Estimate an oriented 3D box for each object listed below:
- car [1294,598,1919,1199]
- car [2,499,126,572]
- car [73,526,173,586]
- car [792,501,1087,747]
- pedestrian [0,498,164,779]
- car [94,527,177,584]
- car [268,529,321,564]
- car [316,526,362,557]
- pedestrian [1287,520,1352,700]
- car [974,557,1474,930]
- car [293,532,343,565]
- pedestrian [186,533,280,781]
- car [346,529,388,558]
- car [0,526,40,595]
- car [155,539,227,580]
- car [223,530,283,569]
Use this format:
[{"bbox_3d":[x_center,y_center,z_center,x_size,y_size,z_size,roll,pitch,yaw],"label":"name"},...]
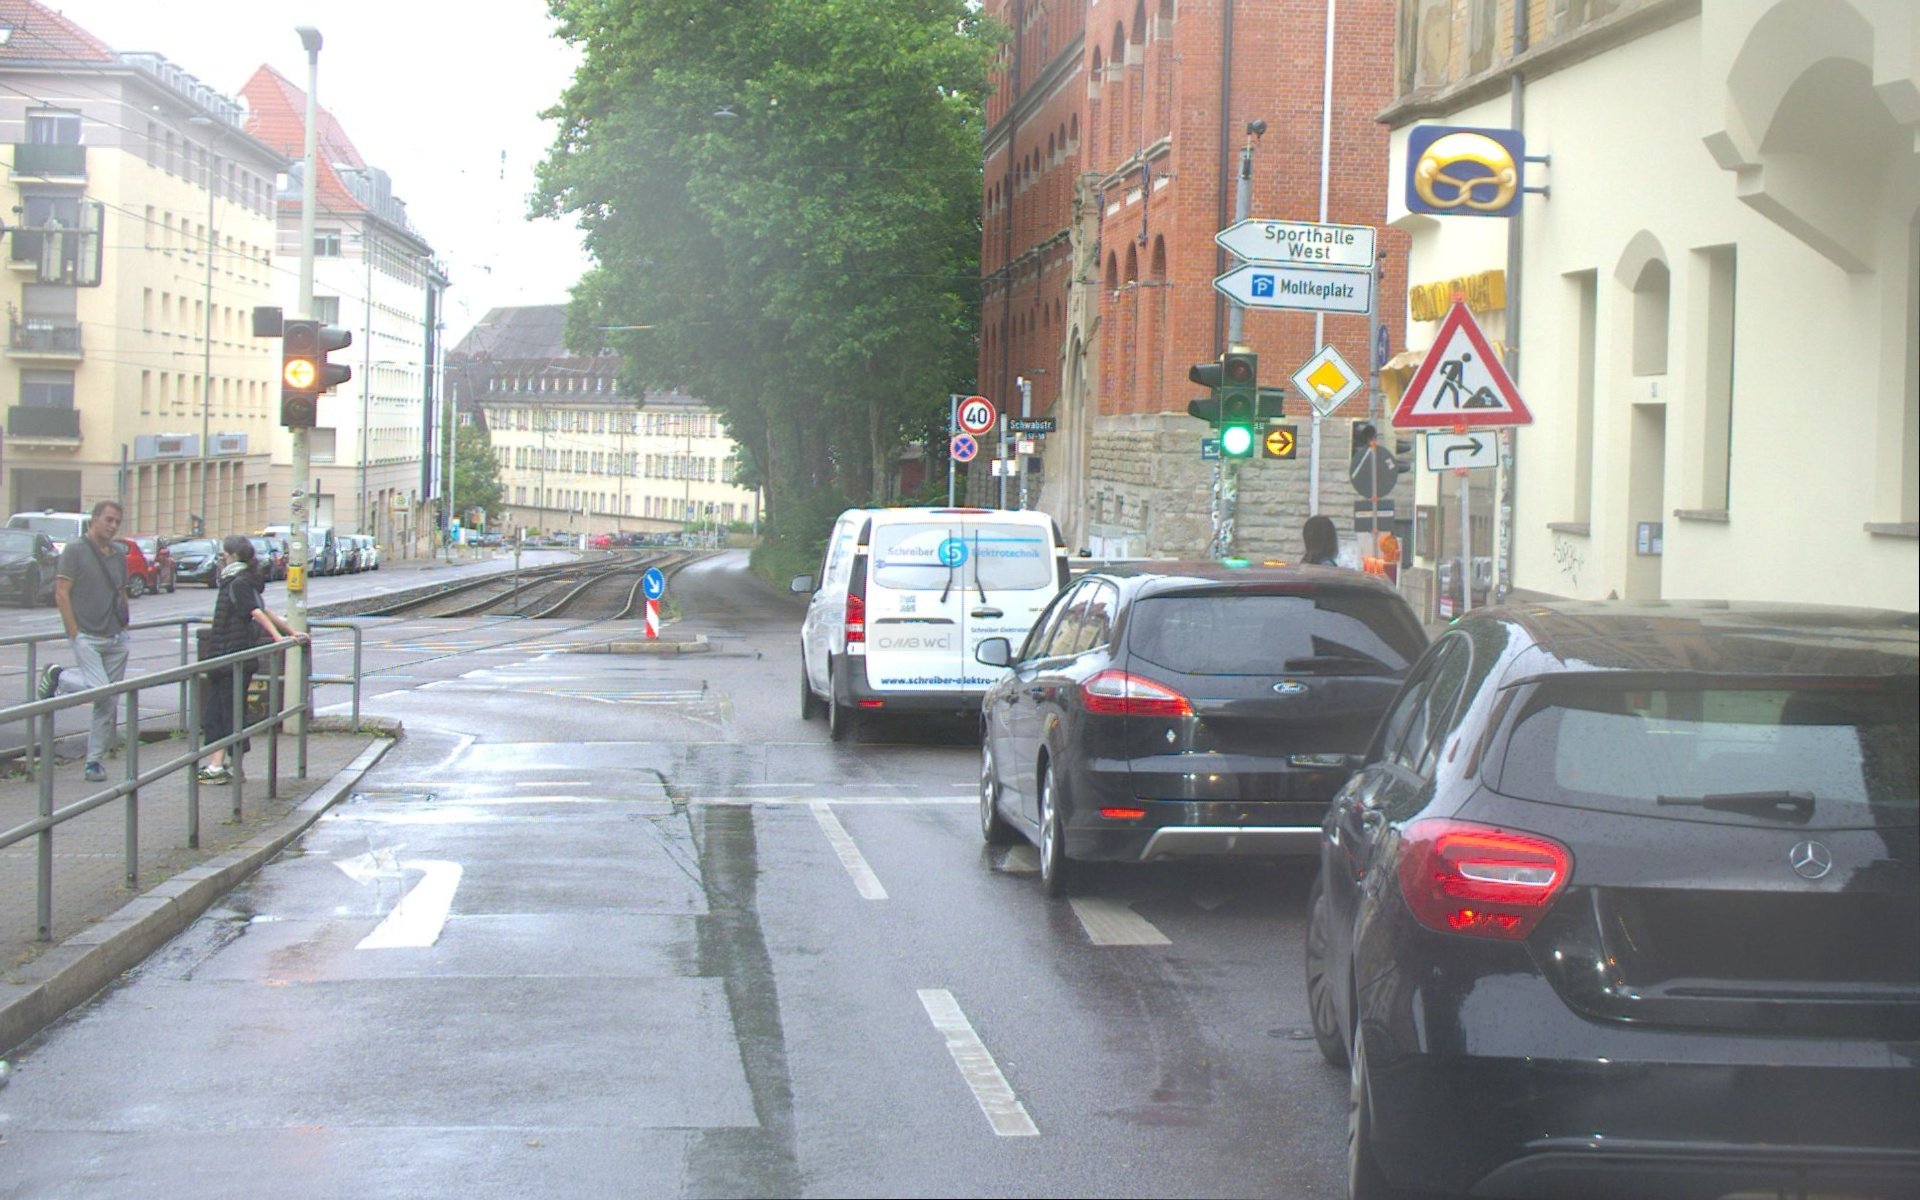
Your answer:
[{"bbox_3d":[1.834,0.734,8.634,1.895,1.385,3.999,1,1,5],"label":"car"},{"bbox_3d":[-19.767,-1.420,76.014,1.786,1.525,4.463,1,1,-4],"label":"car"},{"bbox_3d":[-20.135,-1.064,82.809,1.680,1.351,3.703,1,1,-4],"label":"car"},{"bbox_3d":[-0.254,0.137,28.274,1.932,1.825,4.282,1,1,-7],"label":"car"},{"bbox_3d":[-5.533,0.231,21.540,0.740,1.718,0.739,2,1,43],"label":"pedestrian"},{"bbox_3d":[-20.761,-1.125,86.645,1.499,1.351,3.162,1,1,-4],"label":"car"},{"bbox_3d":[-23.141,-1.868,119.616,1.395,1.167,3.162,1,1,-4],"label":"car"},{"bbox_3d":[-24.427,-2.318,135.257,1.395,1.167,3.162,1,1,-4],"label":"car"},{"bbox_3d":[2.569,0.071,24.577,0.412,1.266,0.292,2,1,2],"label":"pedestrian"},{"bbox_3d":[1.084,0.558,16.096,1.713,1.464,4.281,2,1,-4],"label":"car"},{"bbox_3d":[-23.530,-1.894,126.004,1.395,1.167,3.162,1,1,-4],"label":"car"},{"bbox_3d":[-4.545,0.351,21.511,0.531,1.525,0.437,1,1,-12],"label":"pedestrian"},{"bbox_3d":[-25.477,-2.423,147.781,1.395,1.167,3.162,1,1,-4],"label":"car"},{"bbox_3d":[-19.630,-0.822,69.358,1.451,1.314,3.296,2,1,-5],"label":"car"},{"bbox_3d":[-21.273,-1.128,95.129,1.437,1.103,3.162,1,1,-4],"label":"car"},{"bbox_3d":[-22.282,-1.597,108.451,1.395,1.167,3.162,1,1,-4],"label":"car"}]
